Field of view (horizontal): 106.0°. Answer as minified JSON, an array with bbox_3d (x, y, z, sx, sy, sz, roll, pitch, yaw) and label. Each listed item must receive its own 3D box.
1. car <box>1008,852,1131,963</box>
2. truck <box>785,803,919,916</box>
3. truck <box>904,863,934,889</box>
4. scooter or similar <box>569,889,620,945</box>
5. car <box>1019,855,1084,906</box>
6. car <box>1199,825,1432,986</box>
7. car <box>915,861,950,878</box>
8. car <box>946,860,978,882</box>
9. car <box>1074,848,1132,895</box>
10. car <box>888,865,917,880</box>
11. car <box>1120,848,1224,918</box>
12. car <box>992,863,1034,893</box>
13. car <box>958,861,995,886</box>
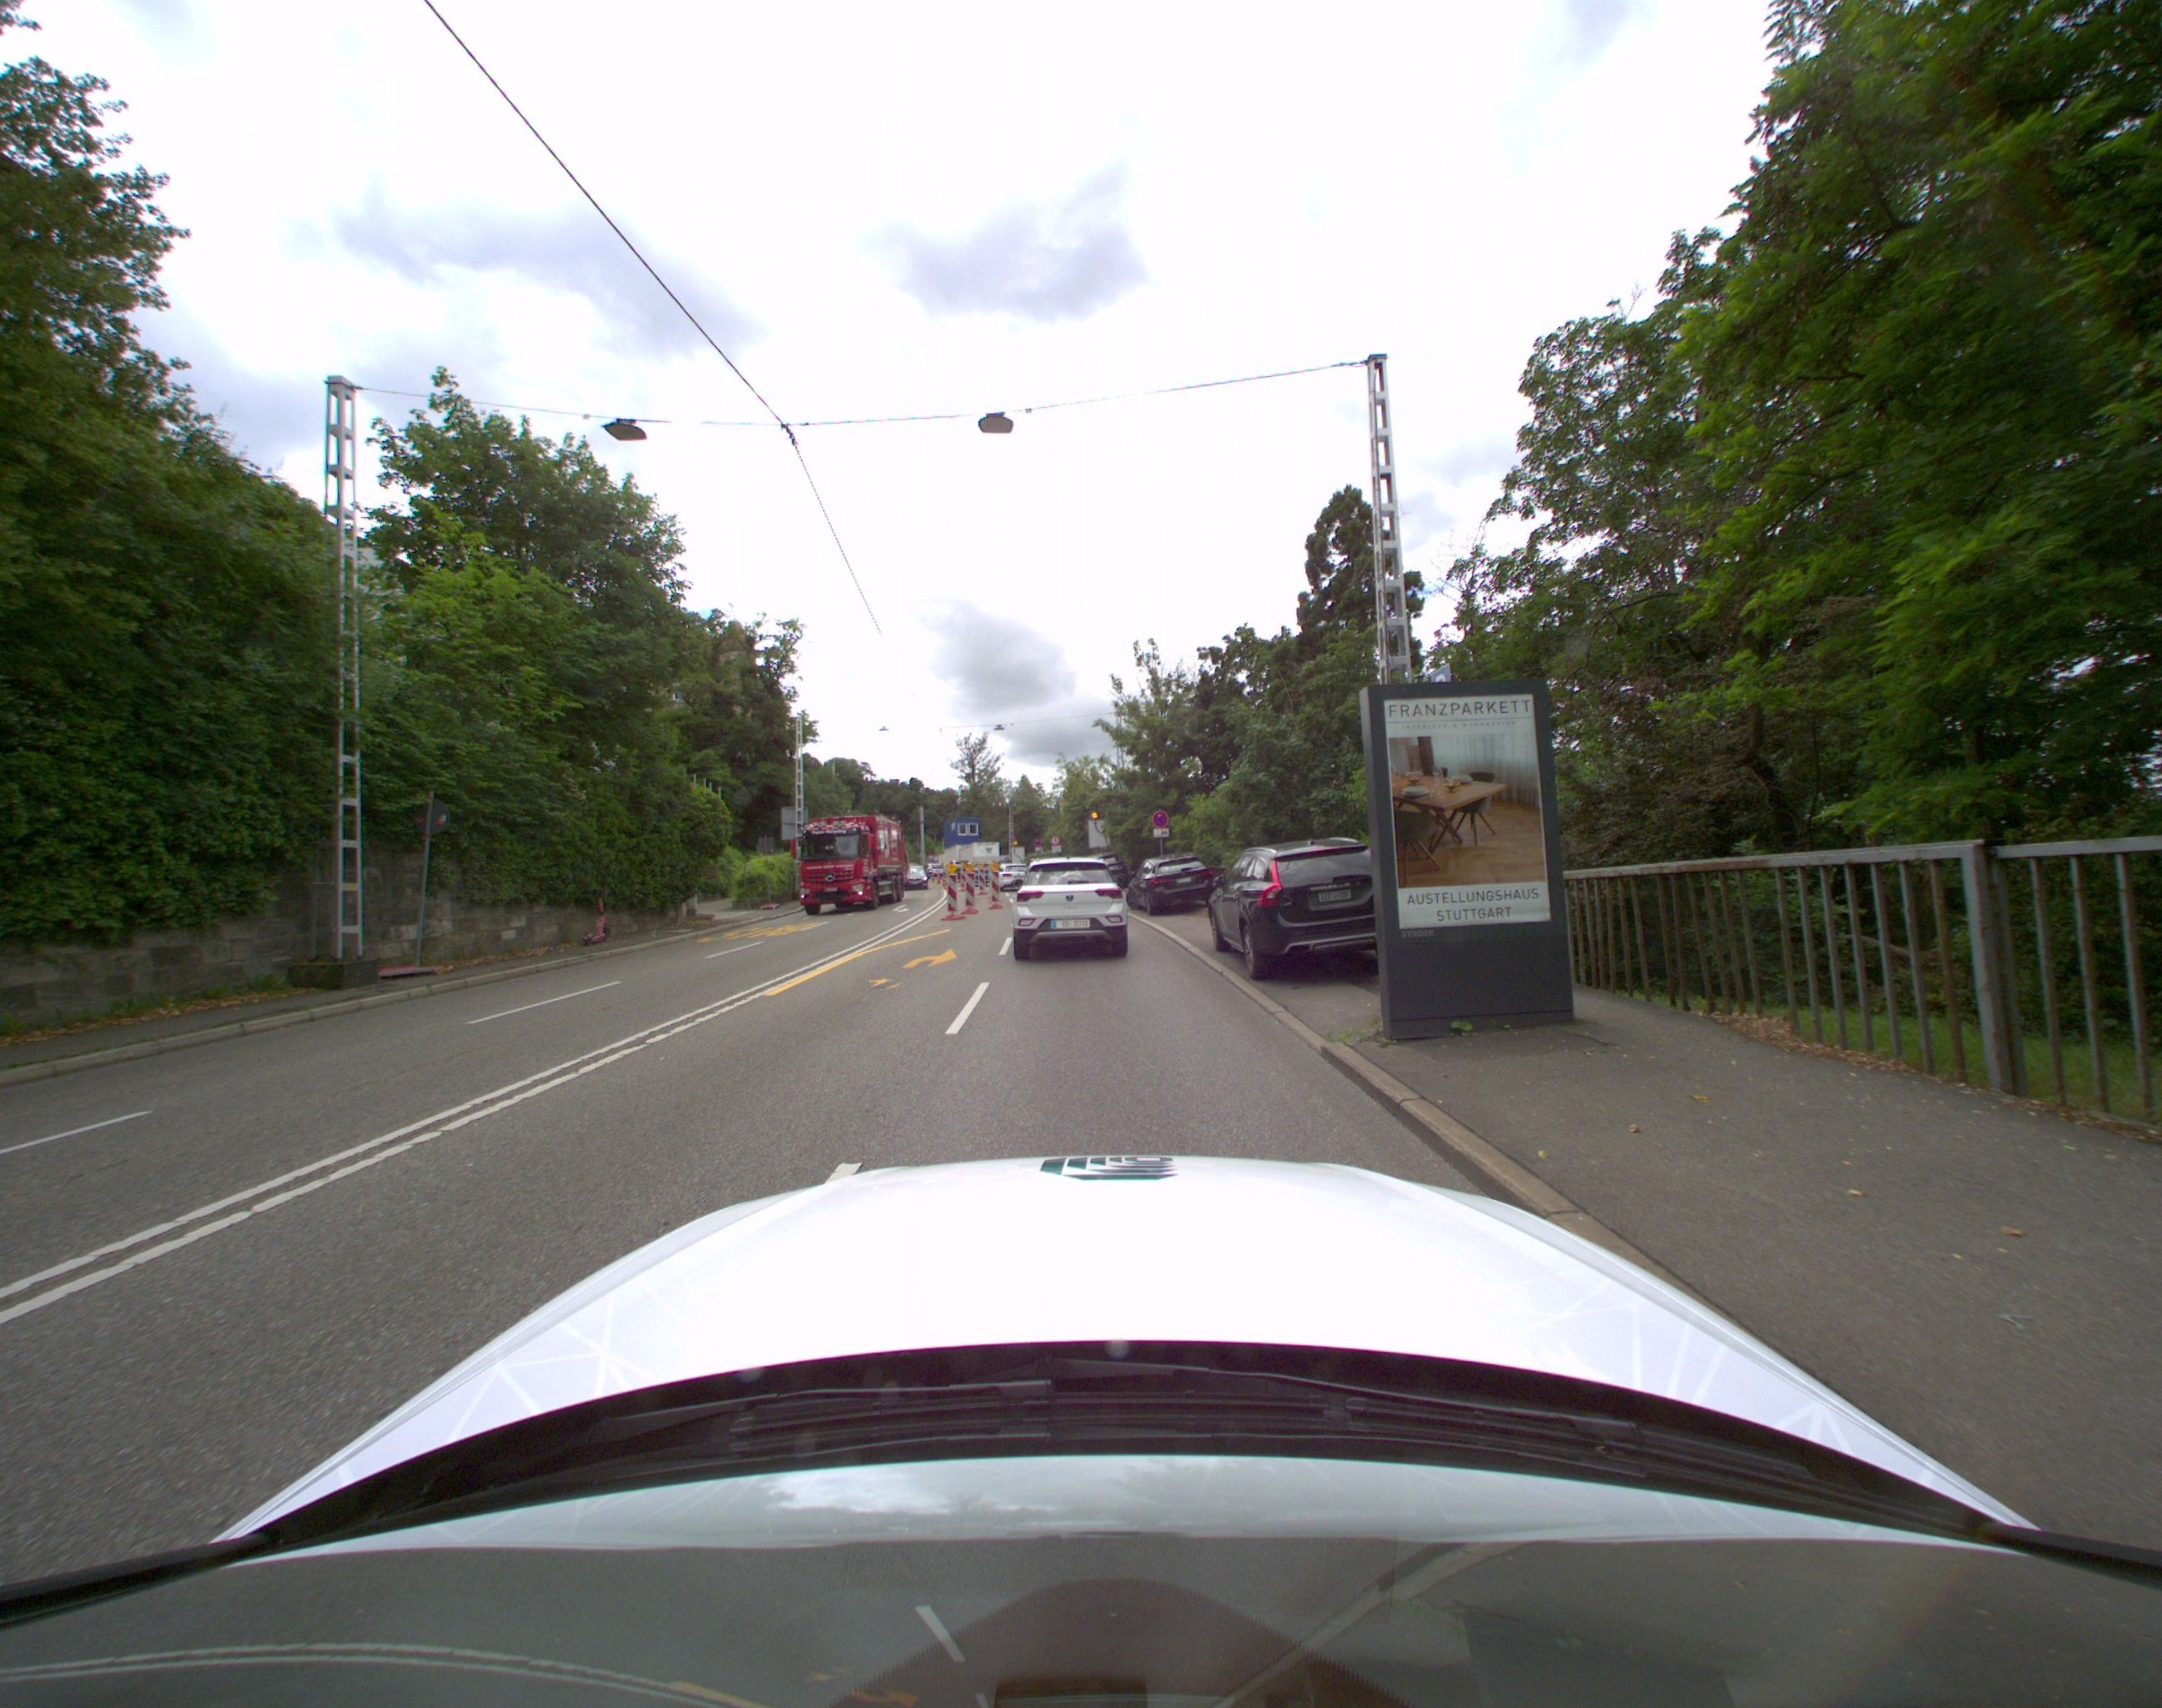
[{"bbox_3d":[-0.156,0.794,13.759,1.752,1.555,3.795,-2,0,0],"label":"car"},{"bbox_3d":[-8.955,0.223,33.275,2.939,3.697,9.906,-4,0,-3],"label":"truck"},{"bbox_3d":[-10.022,1.354,50.323,1.663,1.443,4.010,-3,0,-12],"label":"truck"},{"bbox_3d":[-11.200,1.433,18.802,0.537,1.205,1.276,0,-1,-8],"label":"scooter or similar"},{"bbox_3d":[-1.111,0.908,29.164,1.758,1.609,3.781,-2,0,-10],"label":"car"},{"bbox_3d":[2.821,0.552,10.889,1.759,1.521,4.394,-7,0,1],"label":"car"},{"bbox_3d":[-13.991,1.480,76.673,2.006,1.450,4.111,-3,-1,-29],"label":"car"},{"bbox_3d":[-9.343,1.282,63.803,1.997,1.556,4.129,-3,0,-15],"label":"car"},{"bbox_3d":[0.923,0.764,36.436,1.848,1.656,4.133,-10,0,-6],"label":"car"},{"bbox_3d":[-19.205,2.032,87.724,2.005,1.450,4.112,-3,-1,-28],"label":"car"},{"bbox_3d":[2.337,0.729,22.002,1.805,1.463,4.185,-8,0,-6],"label":"car"},{"bbox_3d":[-3.697,1.249,43.730,1.759,1.471,3.779,-2,0,-12],"label":"car"},{"bbox_3d":[-6.944,1.320,53.759,1.995,1.414,4.132,-4,-1,-12],"label":"car"}]
